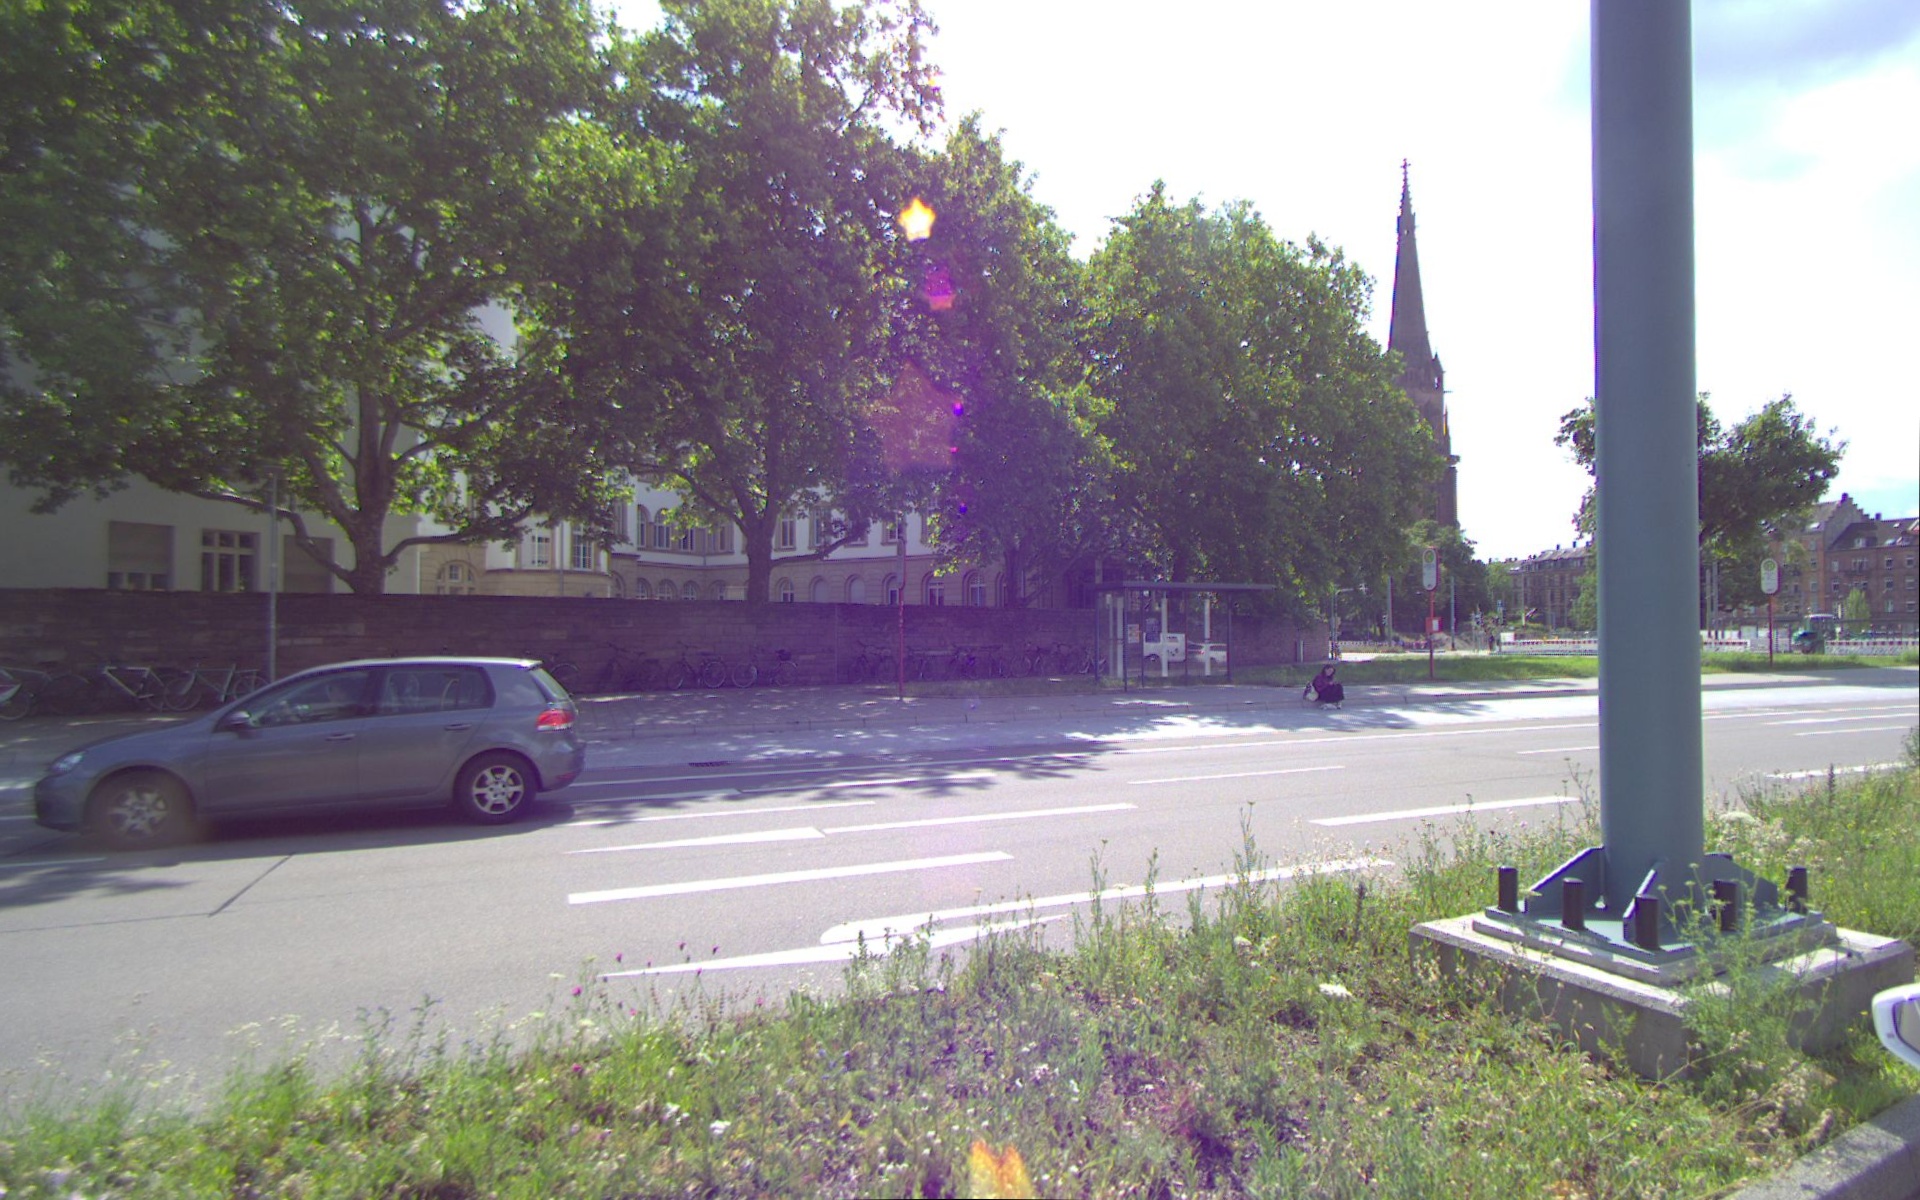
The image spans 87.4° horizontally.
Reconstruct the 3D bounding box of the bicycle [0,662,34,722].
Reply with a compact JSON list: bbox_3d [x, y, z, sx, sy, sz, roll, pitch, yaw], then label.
[{"bbox_3d":[-16.216,1.508,16.414,1.597,0.968,0.366,0,-1,-14],"label":"bicycle"}]

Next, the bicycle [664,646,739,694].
[{"bbox_3d":[-6.338,1.702,24.709,1.744,1.087,0.576,1,-2,-44],"label":"bicycle"}]

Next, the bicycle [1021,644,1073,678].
[{"bbox_3d":[2.920,2.039,33.692,1.854,1.087,0.577,1,-2,-40],"label":"bicycle"}]

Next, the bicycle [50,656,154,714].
[{"bbox_3d":[-15.358,1.505,18.014,1.389,0.968,0.363,1,-2,-38],"label":"bicycle"}]

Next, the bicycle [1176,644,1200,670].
[{"bbox_3d":[9.315,2.339,41.016,1.246,1.024,0.349,1,-2,-43],"label":"bicycle"}]

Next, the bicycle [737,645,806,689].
[{"bbox_3d":[-4.894,1.731,26.128,1.744,1.087,0.576,1,-2,-44],"label":"bicycle"}]

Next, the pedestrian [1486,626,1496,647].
[{"bbox_3d":[46.311,3.183,87.645,0.491,1.874,0.528,1,-2,-15],"label":"pedestrian"}]

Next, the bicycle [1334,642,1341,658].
[{"bbox_3d":[23.952,3.181,63.687,0.386,1.005,1.523,-1,-2,20],"label":"bicycle"}]

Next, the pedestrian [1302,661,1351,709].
[{"bbox_3d":[7.980,1.845,21.874,0.732,0.975,0.692,0,-1,-23],"label":"pedestrian"}]

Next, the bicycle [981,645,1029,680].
[{"bbox_3d":[1.446,1.988,32.237,1.620,1.087,0.576,1,-2,-44],"label":"bicycle"}]

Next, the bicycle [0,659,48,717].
[{"bbox_3d":[-16.561,1.516,17.169,1.389,0.968,0.363,1,-2,-38],"label":"bicycle"}]

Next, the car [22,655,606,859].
[{"bbox_3d":[-5.408,1.255,9.073,4.086,1.464,1.697,1,-3,-23],"label":"car"}]

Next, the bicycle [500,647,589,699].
[{"bbox_3d":[-9.244,1.599,22.378,1.741,1.087,0.577,1,-2,-40],"label":"bicycle"}]

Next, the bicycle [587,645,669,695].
[{"bbox_3d":[-7.779,1.624,23.590,1.744,1.087,0.576,1,-2,-44],"label":"bicycle"}]

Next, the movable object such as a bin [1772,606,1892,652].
[{"bbox_3d":[57.499,1.918,66.384,5.435,2.922,2.288,-1,-2,22],"label":"movable object such as a bin"}]

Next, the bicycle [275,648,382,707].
[{"bbox_3d":[-12.494,1.513,19.895,1.740,1.087,0.578,1,-2,-38],"label":"bicycle"}]

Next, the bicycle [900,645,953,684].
[{"bbox_3d":[-0.986,1.890,29.804,1.620,1.087,0.576,1,-2,-44],"label":"bicycle"}]

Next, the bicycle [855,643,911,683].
[{"bbox_3d":[-2.182,1.787,28.639,1.620,1.087,0.576,1,-2,-44],"label":"bicycle"}]

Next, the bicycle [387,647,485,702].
[{"bbox_3d":[-10.964,1.537,21.048,1.740,1.087,0.578,1,-2,-38],"label":"bicycle"}]

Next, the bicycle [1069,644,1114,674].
[{"bbox_3d":[4.692,2.092,35.665,1.950,1.024,0.466,1,-2,-43],"label":"bicycle"}]

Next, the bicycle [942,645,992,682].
[{"bbox_3d":[0.233,1.953,31.005,1.620,1.087,0.576,1,-2,-44],"label":"bicycle"}]

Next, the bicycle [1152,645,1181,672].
[{"bbox_3d":[8.170,2.294,39.742,1.360,1.024,0.387,1,-2,-43],"label":"bicycle"}]

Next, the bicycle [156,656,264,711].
[{"bbox_3d":[-14.065,1.553,18.871,1.612,0.968,0.367,1,-2,-38],"label":"bicycle"}]

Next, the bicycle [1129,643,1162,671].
[{"bbox_3d":[7.100,2.172,38.398,1.446,1.024,0.466,1,-2,-43],"label":"bicycle"}]
